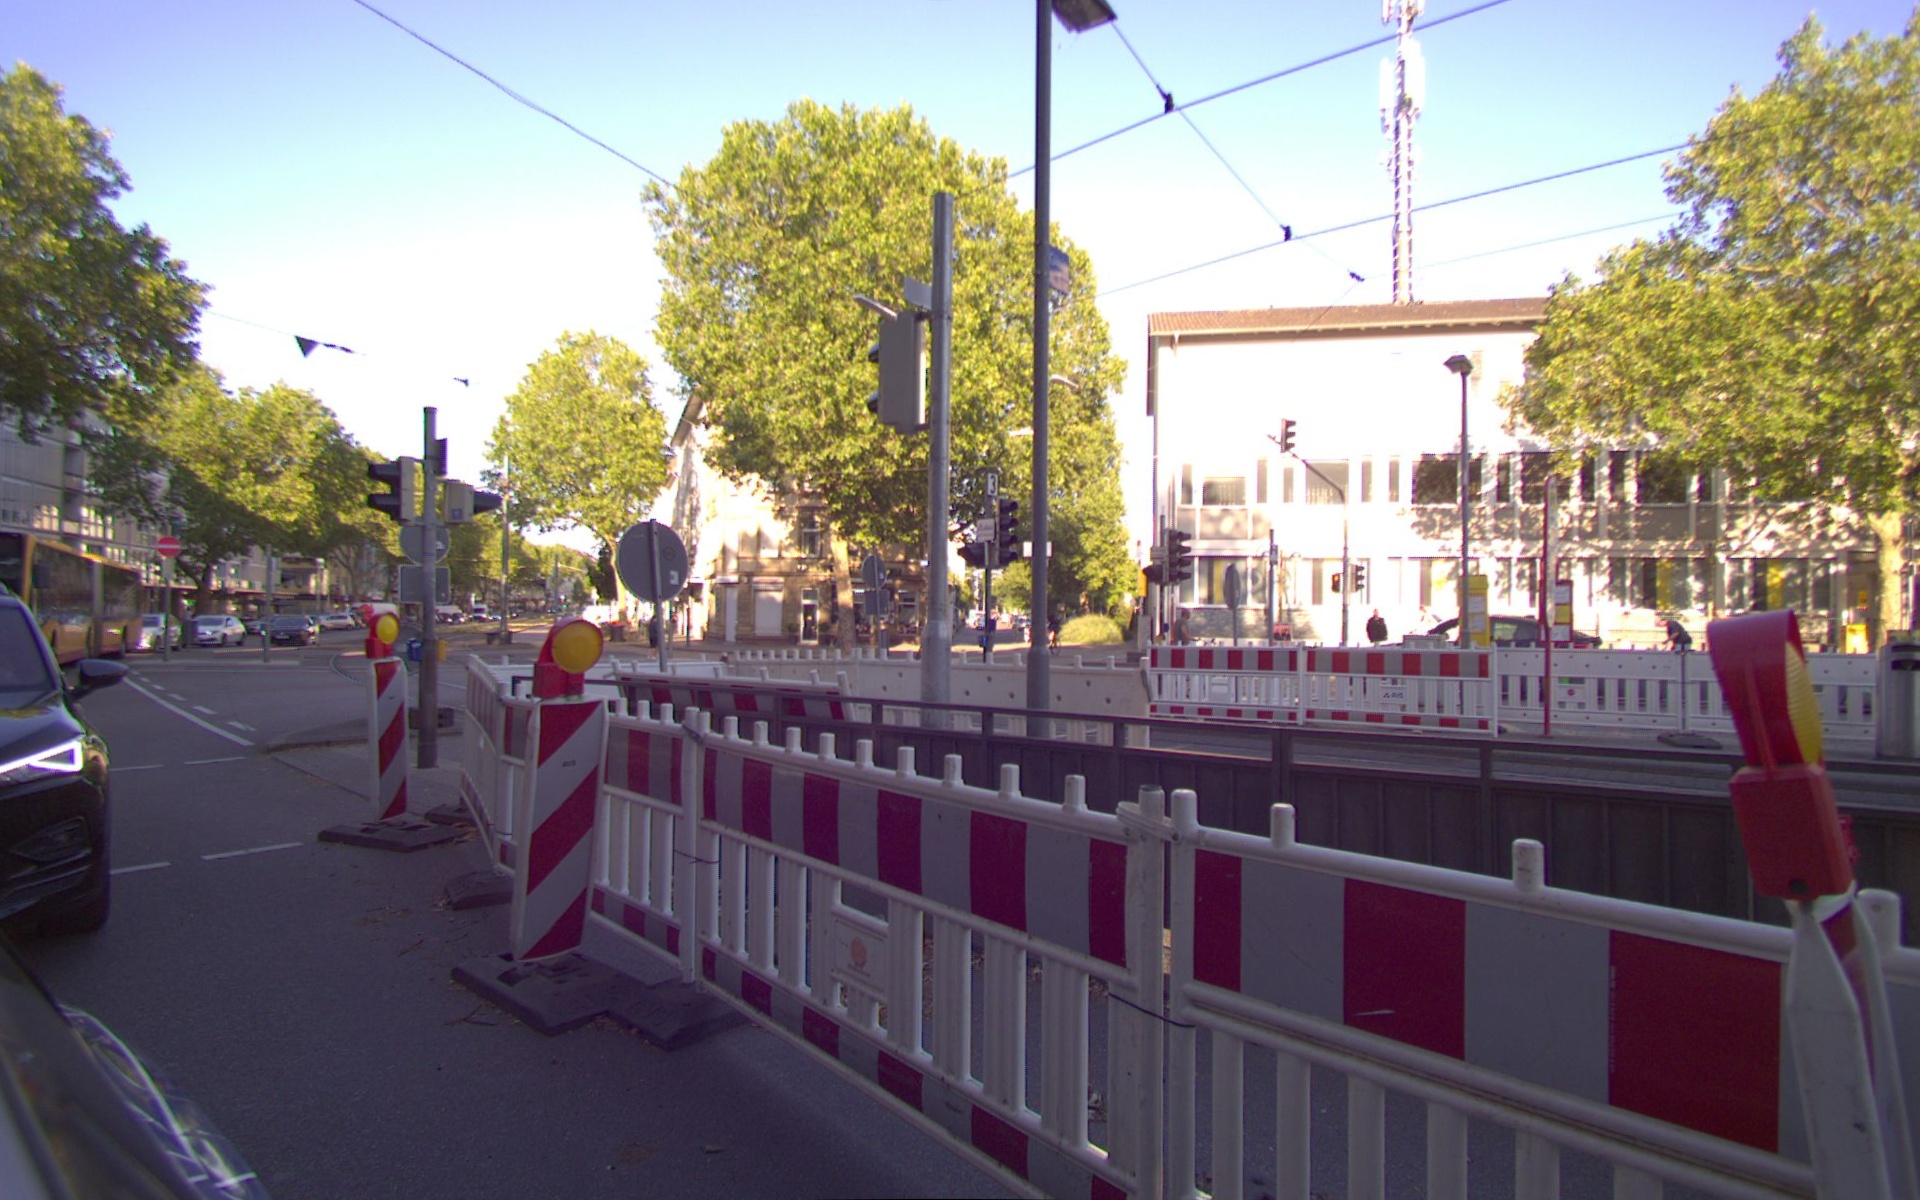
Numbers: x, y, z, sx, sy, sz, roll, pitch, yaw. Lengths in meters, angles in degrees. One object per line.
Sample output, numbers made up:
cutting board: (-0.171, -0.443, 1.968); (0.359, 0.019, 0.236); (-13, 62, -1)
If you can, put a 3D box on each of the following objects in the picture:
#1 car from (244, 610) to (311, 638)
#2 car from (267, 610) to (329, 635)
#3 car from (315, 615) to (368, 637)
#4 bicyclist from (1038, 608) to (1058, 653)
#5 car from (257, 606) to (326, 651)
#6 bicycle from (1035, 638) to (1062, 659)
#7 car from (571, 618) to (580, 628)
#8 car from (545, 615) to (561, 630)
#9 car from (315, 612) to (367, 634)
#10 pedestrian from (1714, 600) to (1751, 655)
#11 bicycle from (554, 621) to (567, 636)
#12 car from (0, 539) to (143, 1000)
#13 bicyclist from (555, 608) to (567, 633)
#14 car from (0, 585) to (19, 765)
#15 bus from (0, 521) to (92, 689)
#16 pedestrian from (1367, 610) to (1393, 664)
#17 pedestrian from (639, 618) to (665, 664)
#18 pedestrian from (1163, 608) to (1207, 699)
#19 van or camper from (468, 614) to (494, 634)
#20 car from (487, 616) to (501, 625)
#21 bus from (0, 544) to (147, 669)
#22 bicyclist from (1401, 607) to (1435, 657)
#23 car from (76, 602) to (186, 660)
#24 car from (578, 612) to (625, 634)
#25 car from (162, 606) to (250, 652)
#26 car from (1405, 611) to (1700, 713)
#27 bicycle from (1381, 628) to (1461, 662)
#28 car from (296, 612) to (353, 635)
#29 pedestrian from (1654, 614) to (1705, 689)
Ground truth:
car: (-50.530, 1.759, 75.007); (3.932, 2.029, 2.006); (1, -2, -31)
car: (-53.981, 1.839, 82.521); (3.938, 2.029, 2.002); (1, -2, -42)
car: (-57.983, 2.397, 94.862); (3.938, 2.029, 2.002); (1, -2, -42)
bicyclist: (3.435, 1.185, 39.715); (0.663, 1.741, 0.766); (0, -1, -5)
car: (-31.602, 1.349, 47.987); (1.965, 2.029, 4.013); (1, -1, -22)
bicycle: (3.451, 1.893, 39.537); (0.671, 0.788, 1.993); (0, -1, -6)
car: (-74.627, 4.518, 196.419); (1.661, 1.866, 4.013); (1, -1, -20)
car: (-56.724, 3.168, 141.151); (1.965, 2.029, 4.013); (1, -1, -20)
car: (-60.202, 2.243, 98.441); (3.938, 2.029, 2.002); (1, -2, -42)
pedestrian: (21.107, 0.753, 27.650); (0.579, 1.466, 0.584); (0, -1, 10)
bicycle: (-31.925, 2.248, 80.869); (0.837, 1.202, 2.474); (1, -1, -24)
car: (-5.412, 0.642, 4.720); (3.998, 1.719, 1.818); (-1, -2, 41)
bicyclist: (-31.891, 1.647, 80.879); (0.841, 2.029, 0.987); (1, -2, -24)
car: (-10.942, 0.693, 10.003); (4.073, 1.656, 1.973); (-1, -2, 41)
bus: (-21.097, 0.146, 21.998); (2.678, 3.130, 8.641); (1, -2, -36)
pedestrian: (12.185, 1.068, 29.368); (0.649, 1.564, 0.563); (-1, -2, 28)
pedestrian: (-10.595, 1.402, 34.802); (0.594, 1.545, 0.746); (1, -2, -38)
pedestrian: (4.468, 1.050, 20.151); (0.545, 1.760, 0.693); (1, -2, -24)
van or camper: (-65.663, 3.297, 138.743); (2.385, 2.739, 6.151); (1, -1, -18)
car: (-72.642, 3.206, 157.799); (1.675, 1.481, 3.776); (1, -2, -19)
bus: (-25.928, 0.245, 29.154); (2.676, 3.130, 8.622); (1, -2, -31)
bicyclist: (14.391, 0.993, 31.811); (0.836, 1.538, 0.574); (0, -2, 11)
car: (-30.821, 1.135, 37.777); (1.965, 2.029, 4.111); (1, -1, -21)
car: (-34.359, 2.194, 97.023); (1.990, 2.029, 3.963); (0, -2, 27)
car: (-34.837, 1.325, 46.886); (1.966, 2.029, 4.012); (1, -1, -17)
car: (10.974, 1.070, 18.913); (4.552, 1.674, 1.974); (-1, -2, 38)
bicycle: (14.470, 1.396, 31.789); (2.167, 1.039, 0.675); (0, -1, 12)
car: (-56.118, 2.092, 89.373); (3.938, 2.029, 2.002); (1, -2, -42)
pedestrian: (18.097, 1.283, 25.480); (0.923, 1.847, 0.693); (-1, -2, 28)
